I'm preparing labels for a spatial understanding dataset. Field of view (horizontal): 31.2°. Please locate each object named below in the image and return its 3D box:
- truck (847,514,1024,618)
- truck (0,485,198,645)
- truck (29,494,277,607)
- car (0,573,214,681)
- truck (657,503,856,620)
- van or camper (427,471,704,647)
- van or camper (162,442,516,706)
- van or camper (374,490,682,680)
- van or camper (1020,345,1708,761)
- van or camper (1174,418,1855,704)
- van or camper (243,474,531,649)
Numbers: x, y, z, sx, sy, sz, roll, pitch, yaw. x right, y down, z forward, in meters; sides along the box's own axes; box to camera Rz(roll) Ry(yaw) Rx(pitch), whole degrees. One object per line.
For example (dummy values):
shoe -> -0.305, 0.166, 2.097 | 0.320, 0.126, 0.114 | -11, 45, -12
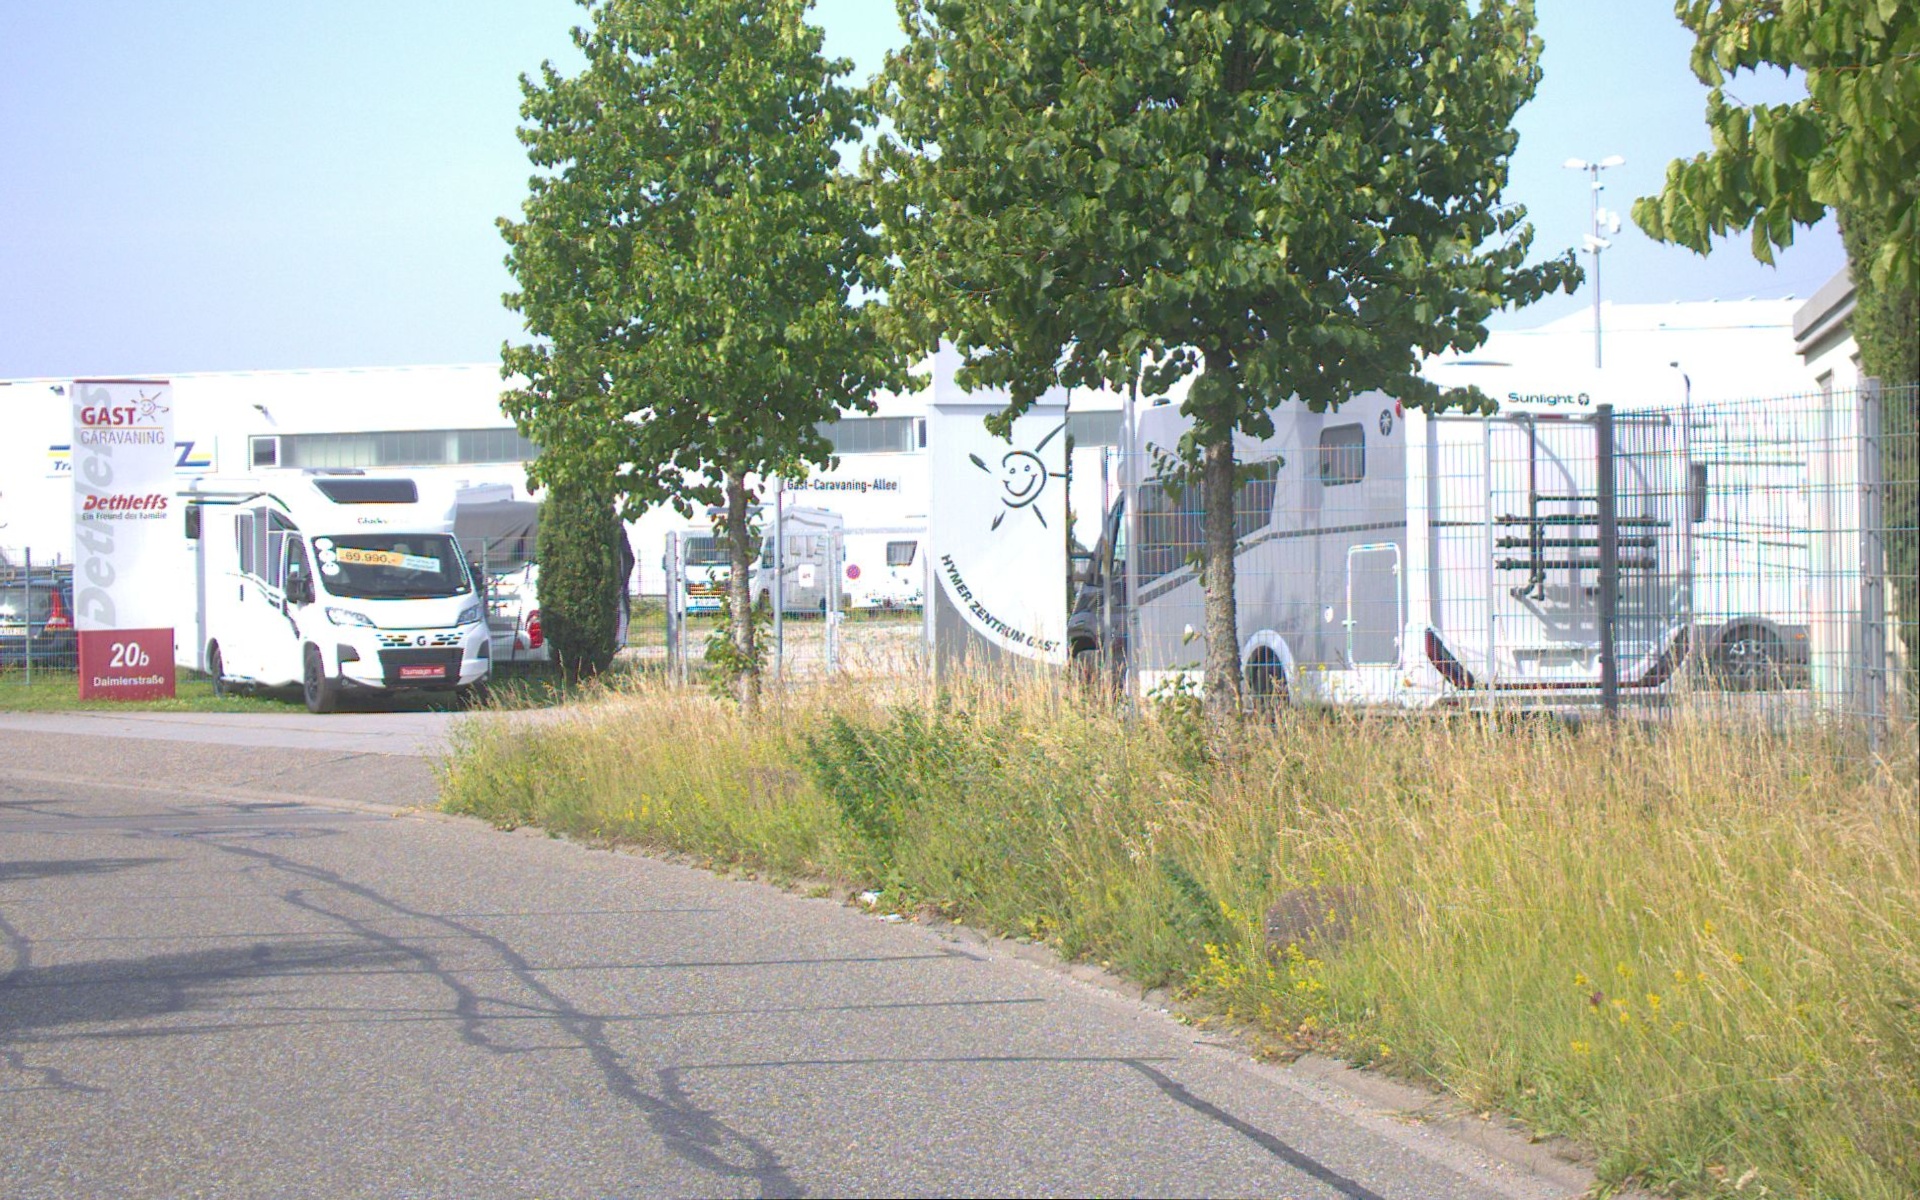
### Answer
truck -> -0.474, -0.809, 78.848 | 2.452, 2.257, 7.998 | 0, 1, 12
truck -> -24.218, -0.880, 87.195 | 9.287, 3.959, 2.458 | 0, 1, 9
truck -> -18.564, -1.157, 79.611 | 2.452, 2.463, 7.998 | 0, 1, 12
car -> -13.098, 0.369, 50.521 | 2.168, 1.471, 3.994 | 0, 1, 26
truck -> -4.452, -0.883, 76.918 | 2.452, 2.463, 7.998 | 0, 1, 12
van or camper -> -7.186, -0.801, 63.936 | 2.950, 3.073, 7.967 | 0, 1, 10
van or camper -> -7.689, -0.342, 41.834 | 2.330, 2.933, 6.972 | -1, 1, -27
van or camper -> -6.097, -0.278, 49.556 | 2.484, 2.550, 6.623 | 0, 1, 11
van or camper -> 2.908, -0.351, 27.307 | 2.348, 2.838, 7.344 | 0, 0, -20
van or camper -> 6.070, -0.423, 38.428 | 7.260, 3.021, 2.585 | 0, 0, 5
van or camper -> -10.603, -0.772, 64.547 | 2.799, 3.073, 7.967 | 0, 1, 10
